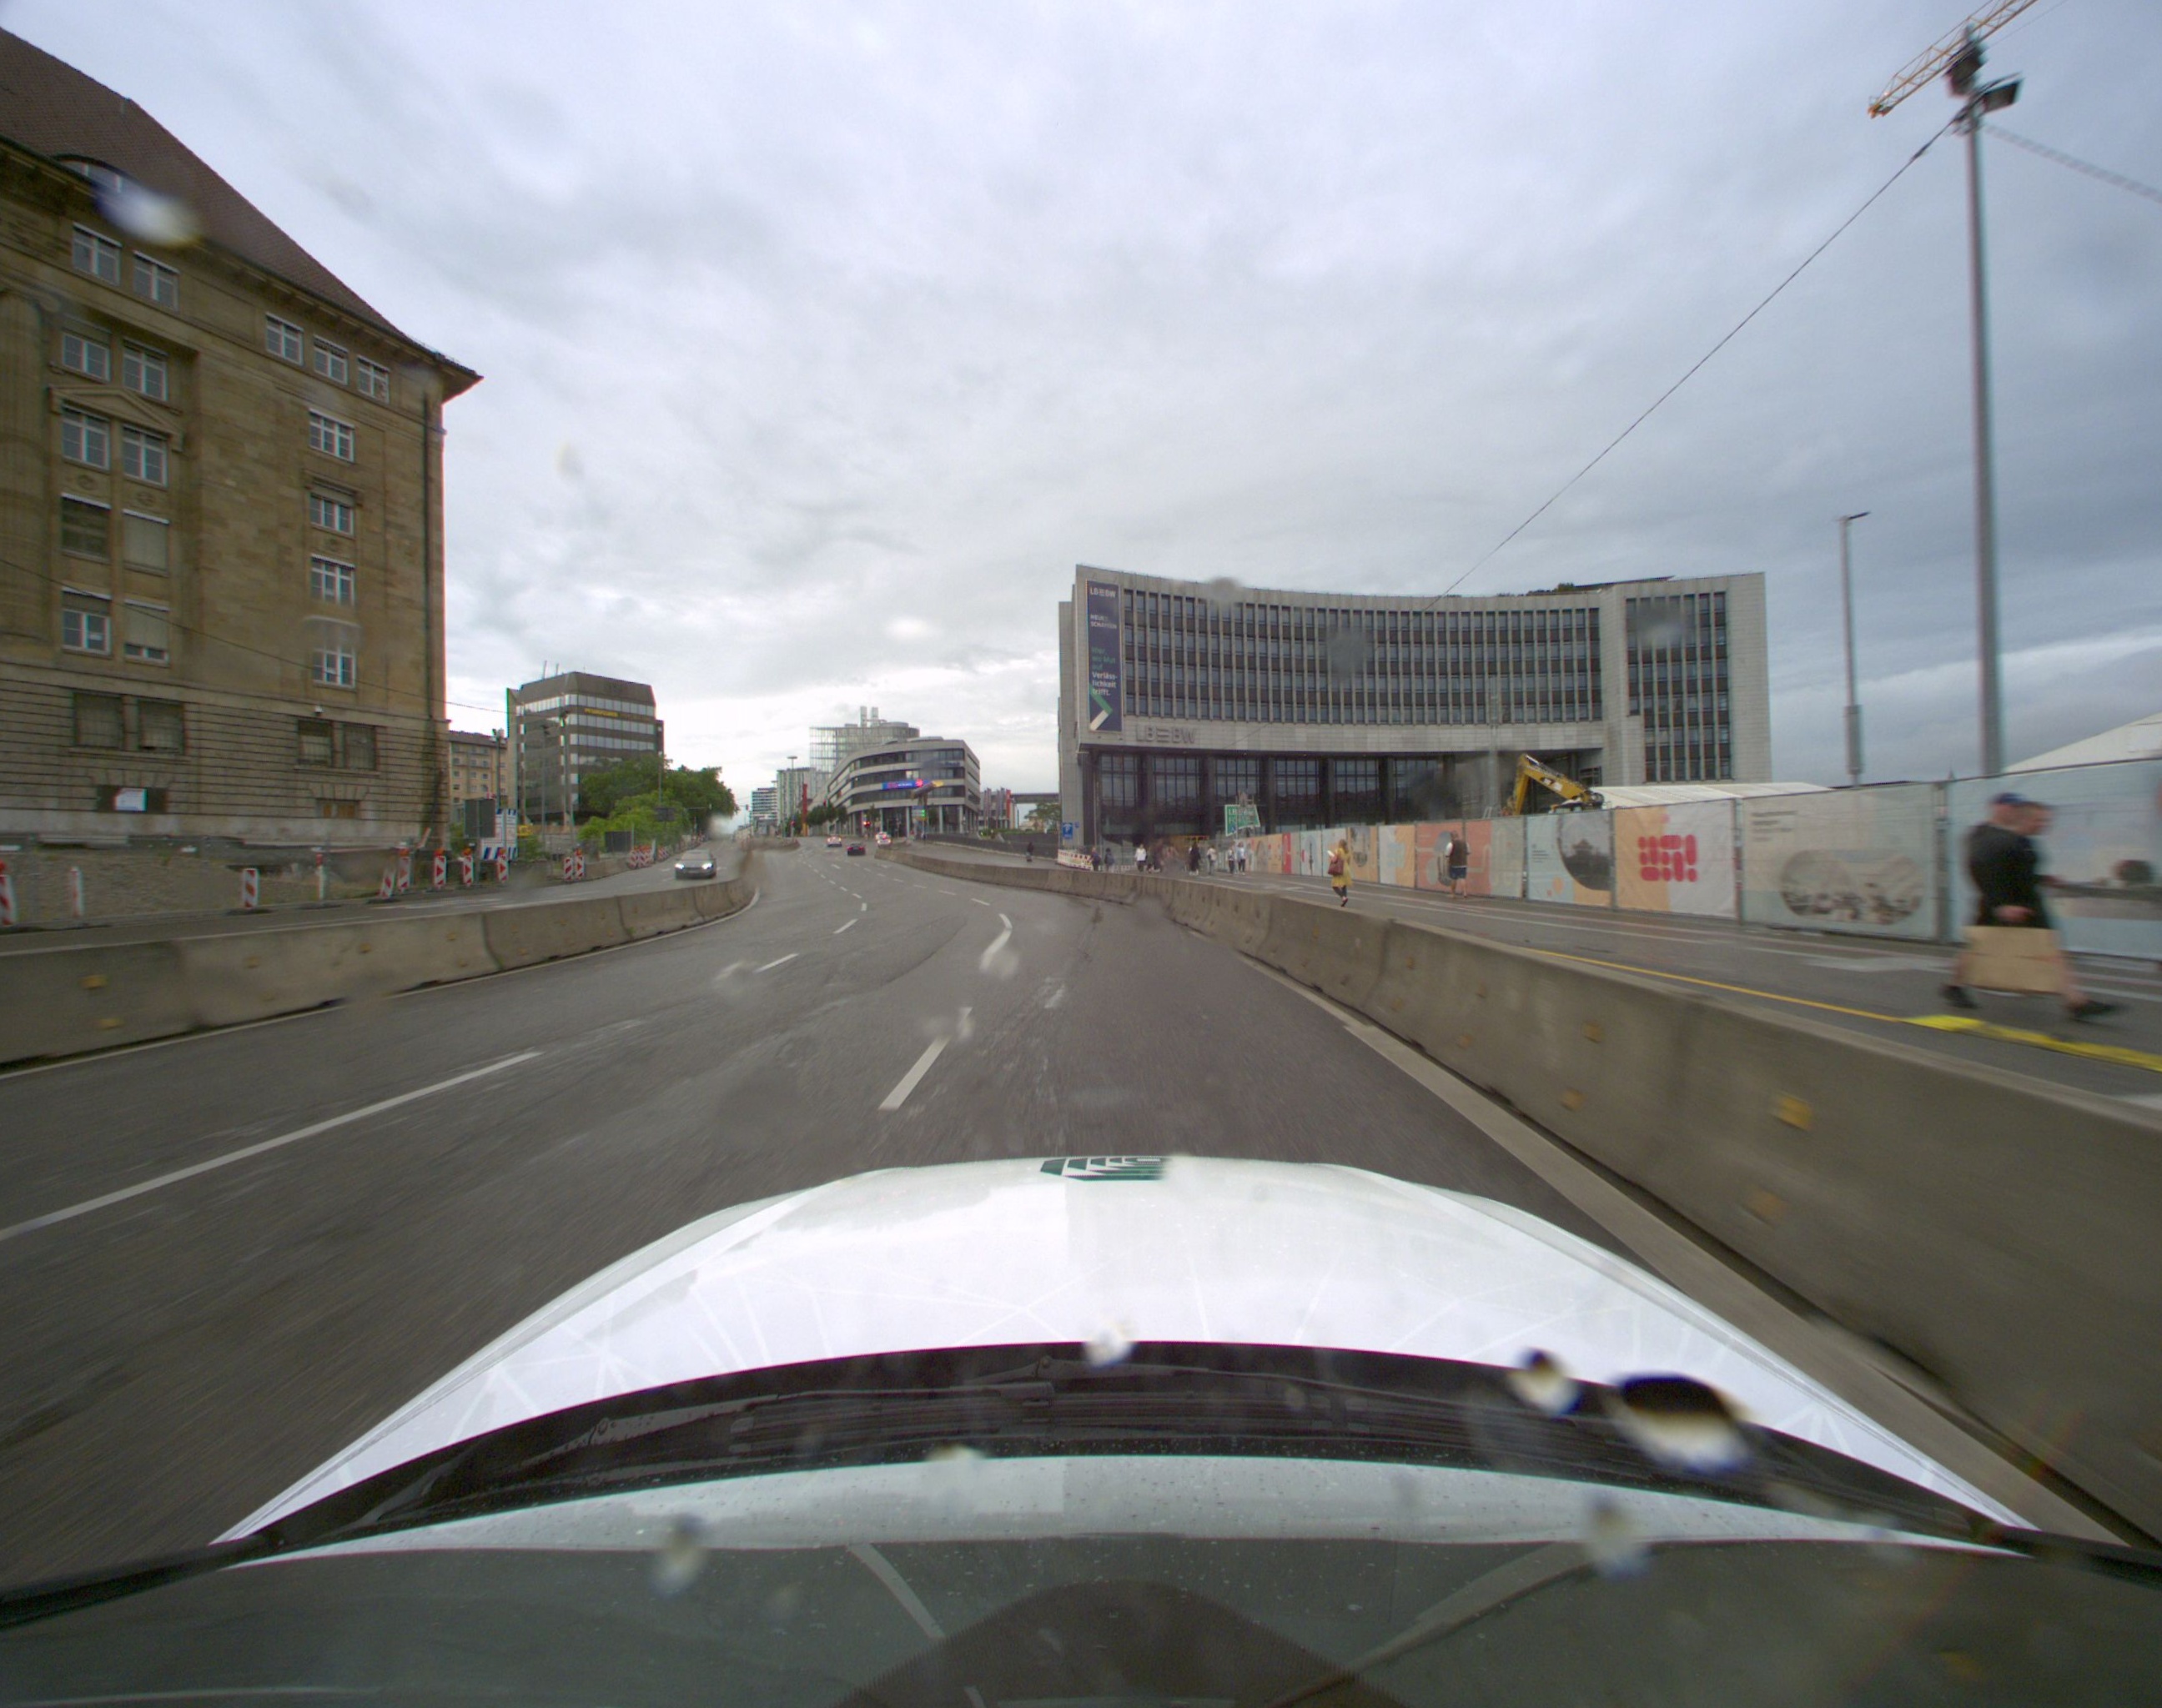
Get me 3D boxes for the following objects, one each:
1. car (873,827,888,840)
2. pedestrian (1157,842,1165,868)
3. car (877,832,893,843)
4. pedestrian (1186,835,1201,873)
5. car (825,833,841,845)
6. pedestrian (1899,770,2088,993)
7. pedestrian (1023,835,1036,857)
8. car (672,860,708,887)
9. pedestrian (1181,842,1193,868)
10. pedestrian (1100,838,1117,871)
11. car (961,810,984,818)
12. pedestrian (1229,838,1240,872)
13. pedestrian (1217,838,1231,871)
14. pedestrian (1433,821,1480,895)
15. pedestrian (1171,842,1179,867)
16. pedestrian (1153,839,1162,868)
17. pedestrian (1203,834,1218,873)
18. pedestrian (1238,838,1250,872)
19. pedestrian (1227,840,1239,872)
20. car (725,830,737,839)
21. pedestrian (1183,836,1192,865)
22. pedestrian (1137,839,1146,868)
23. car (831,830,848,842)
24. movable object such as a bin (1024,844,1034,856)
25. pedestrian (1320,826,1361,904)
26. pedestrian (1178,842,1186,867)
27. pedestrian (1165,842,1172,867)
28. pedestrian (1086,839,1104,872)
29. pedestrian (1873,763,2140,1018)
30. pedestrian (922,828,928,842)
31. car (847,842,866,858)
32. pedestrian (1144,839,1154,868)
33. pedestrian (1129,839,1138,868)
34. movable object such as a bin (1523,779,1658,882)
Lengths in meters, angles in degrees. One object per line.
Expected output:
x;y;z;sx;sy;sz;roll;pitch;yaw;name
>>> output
-30.615;-3.110;124.489;1.995;1.804;4.248;-1;1;-12;car
5.421;0.052;55.152;0.445;1.704;0.648;-1;1;10;pedestrian
-25.122;-2.060;104.460;1.826;1.352;3.849;-1;1;-13;car
5.963;-0.003;43.153;0.780;2.013;0.865;-1;1;8;pedestrian
-33.505;-2.034;109.884;1.748;1.506;3.728;-1;0;-21;car
8.082;0.228;7.252;0.777;1.862;0.811;-1;0;-2;pedestrian
-4.150;-0.622;65.543;0.759;1.790;1.050;-1;0;-20;pedestrian
-20.843;1.054;43.467;1.609;1.352;3.723;0;-2;-24;car
6.985;0.052;53.791;0.515;1.704;0.568;-1;1;-36;pedestrian
1.400;0.006;41.243;0.659;1.642;0.820;-1;0;-11;pedestrian
-18.714;-6.881;140.440;1.606;1.434;3.764;0;1;41;car
7.948;0.051;42.233;0.446;1.704;0.647;-1;1;0;pedestrian
7.377;0.027;42.052;0.623;1.704;0.647;-1;1;0;pedestrian
9.758;0.098;21.186;0.777;1.862;0.811;-2;0;-2;pedestrian
6.346;0.014;54.954;0.445;1.704;0.648;-1;1;10;pedestrian
4.553;-0.057;48.720;0.447;1.704;0.646;-1;1;-3;pedestrian
6.846;-0.044;43.122;0.780;2.013;0.865;-1;1;8;pedestrian
8.445;0.044;42.281;0.501;1.704;0.647;-1;1;0;pedestrian
8.203;0.105;44.069;0.498;1.704;0.733;-1;1;0;pedestrian
-60.742;-3.380;141.326;1.607;1.352;3.728;0;-2;-20;car
6.862;-0.231;52.480;0.527;1.818;0.537;-1;0;1;pedestrian
3.581;-0.024;48.376;0.447;1.704;0.646;-1;1;-3;pedestrian
-35.680;-2.652;120.350;1.995;1.804;4.248;-1;1;-12;car
-4.191;-0.320;65.238;0.600;0.934;0.737;0;-2;-20;movable object such as a bin
6.360;0.264;19.976;0.730;1.854;0.831;-1;0;0;pedestrian
6.803;0.024;54.865;0.445;1.704;0.648;-1;1;10;pedestrian
5.910;0.046;55.025;0.445;1.704;0.648;-1;1;10;pedestrian
0.704;0.066;41.099;0.751;1.642;0.820;-1;0;-11;pedestrian
7.274;0.263;6.479;0.817;1.827;1.111;-2;0;-1;pedestrian
-20.588;-2.495;107.681;0.623;1.764;0.591;-1;1;3;pedestrian
-23.973;-0.391;87.136;1.675;1.508;3.730;-1;-2;-11;car
4.056;-0.033;48.633;0.452;1.704;0.646;-1;1;-3;pedestrian
3.114;-0.031;48.351;0.447;1.704;0.646;-1;1;-3;pedestrian
21.208;-0.935;34.065;3.099;4.030;3.670;-1;0;-22;movable object such as a bin
